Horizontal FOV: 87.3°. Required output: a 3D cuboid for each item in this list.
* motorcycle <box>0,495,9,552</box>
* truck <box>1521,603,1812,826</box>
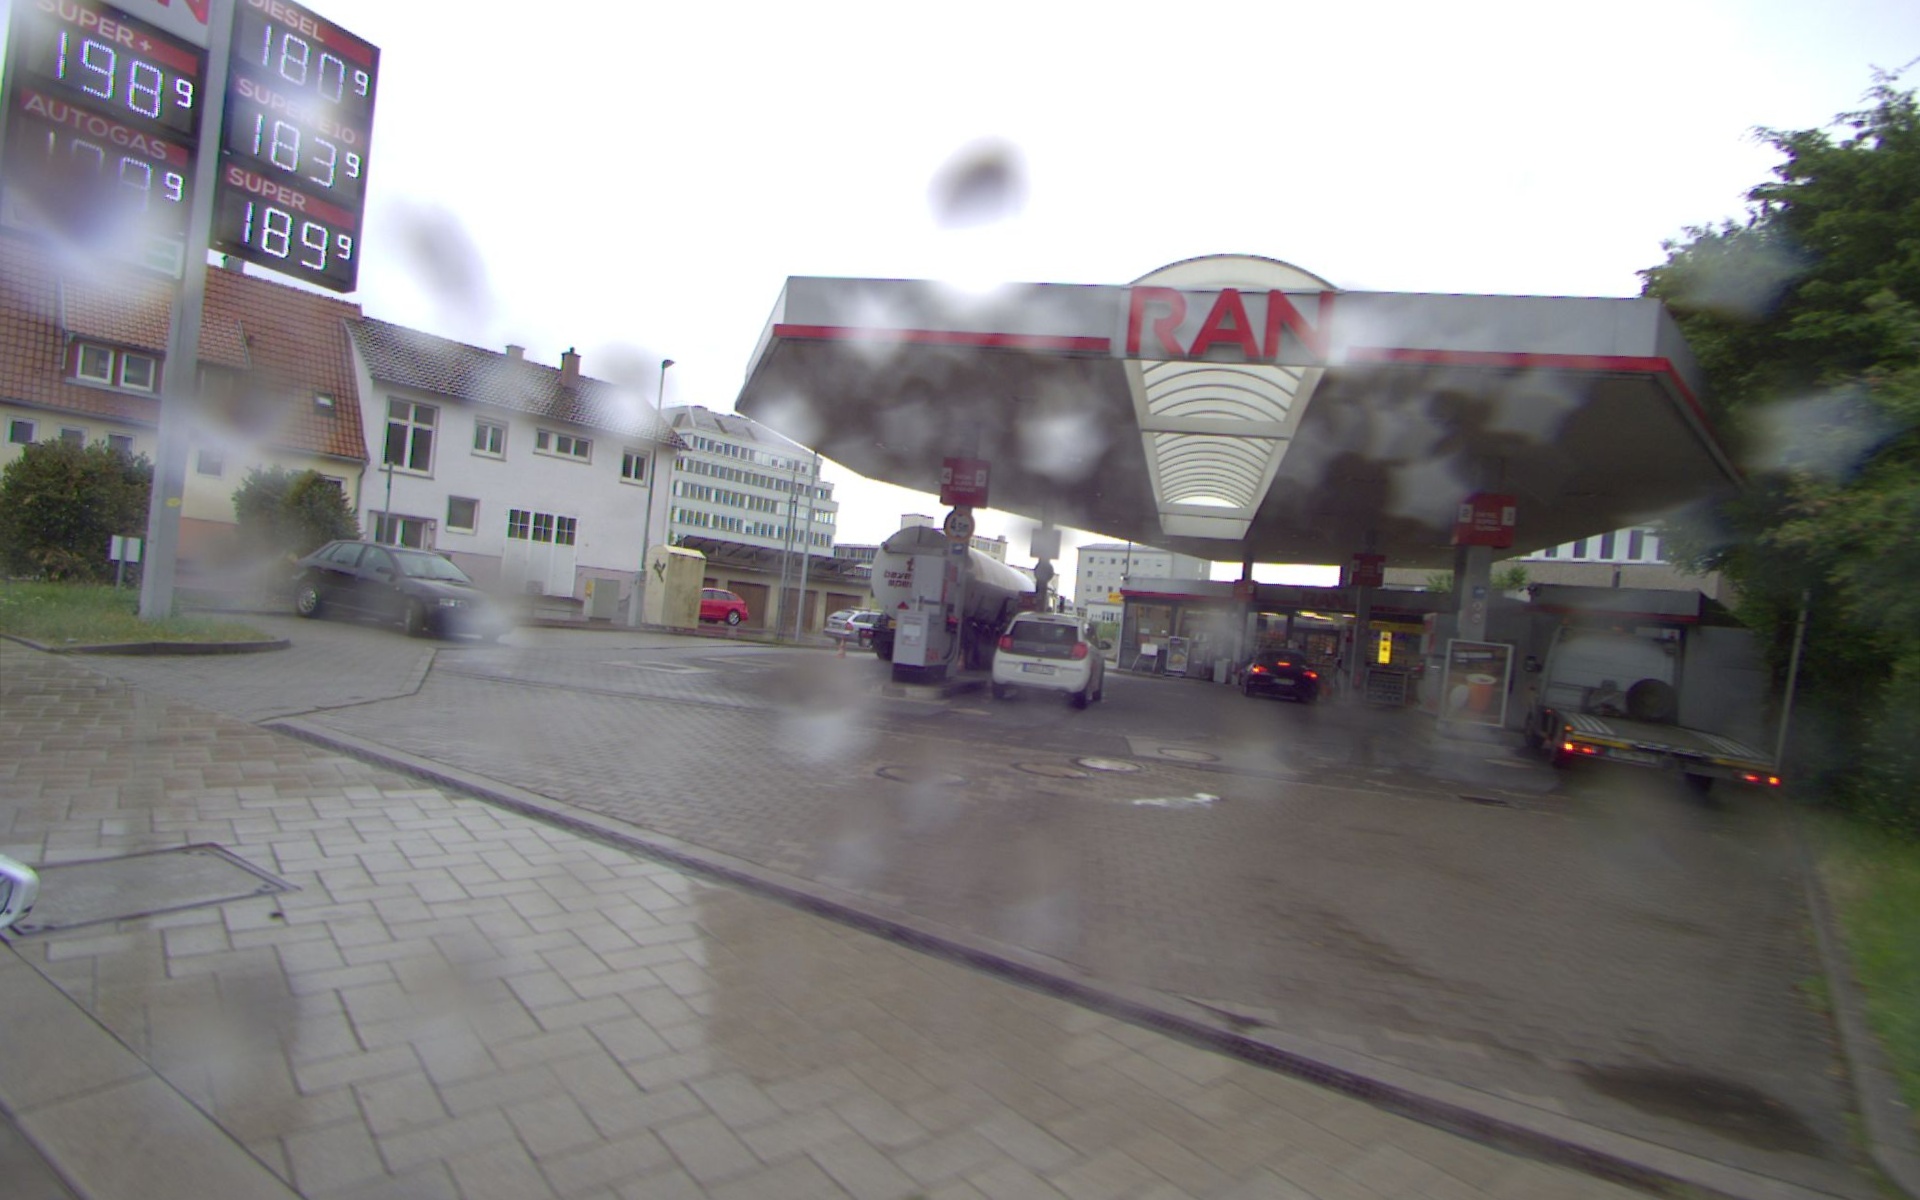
[{"bbox_3d":[-25.852,-2.113,25.785,0.483,1.474,2.029,6,-1,43],"label":"motorcycle"},{"bbox_3d":[10.001,1.432,15.026,2.048,2.235,7.290,10,2,25],"label":"truck"}]
